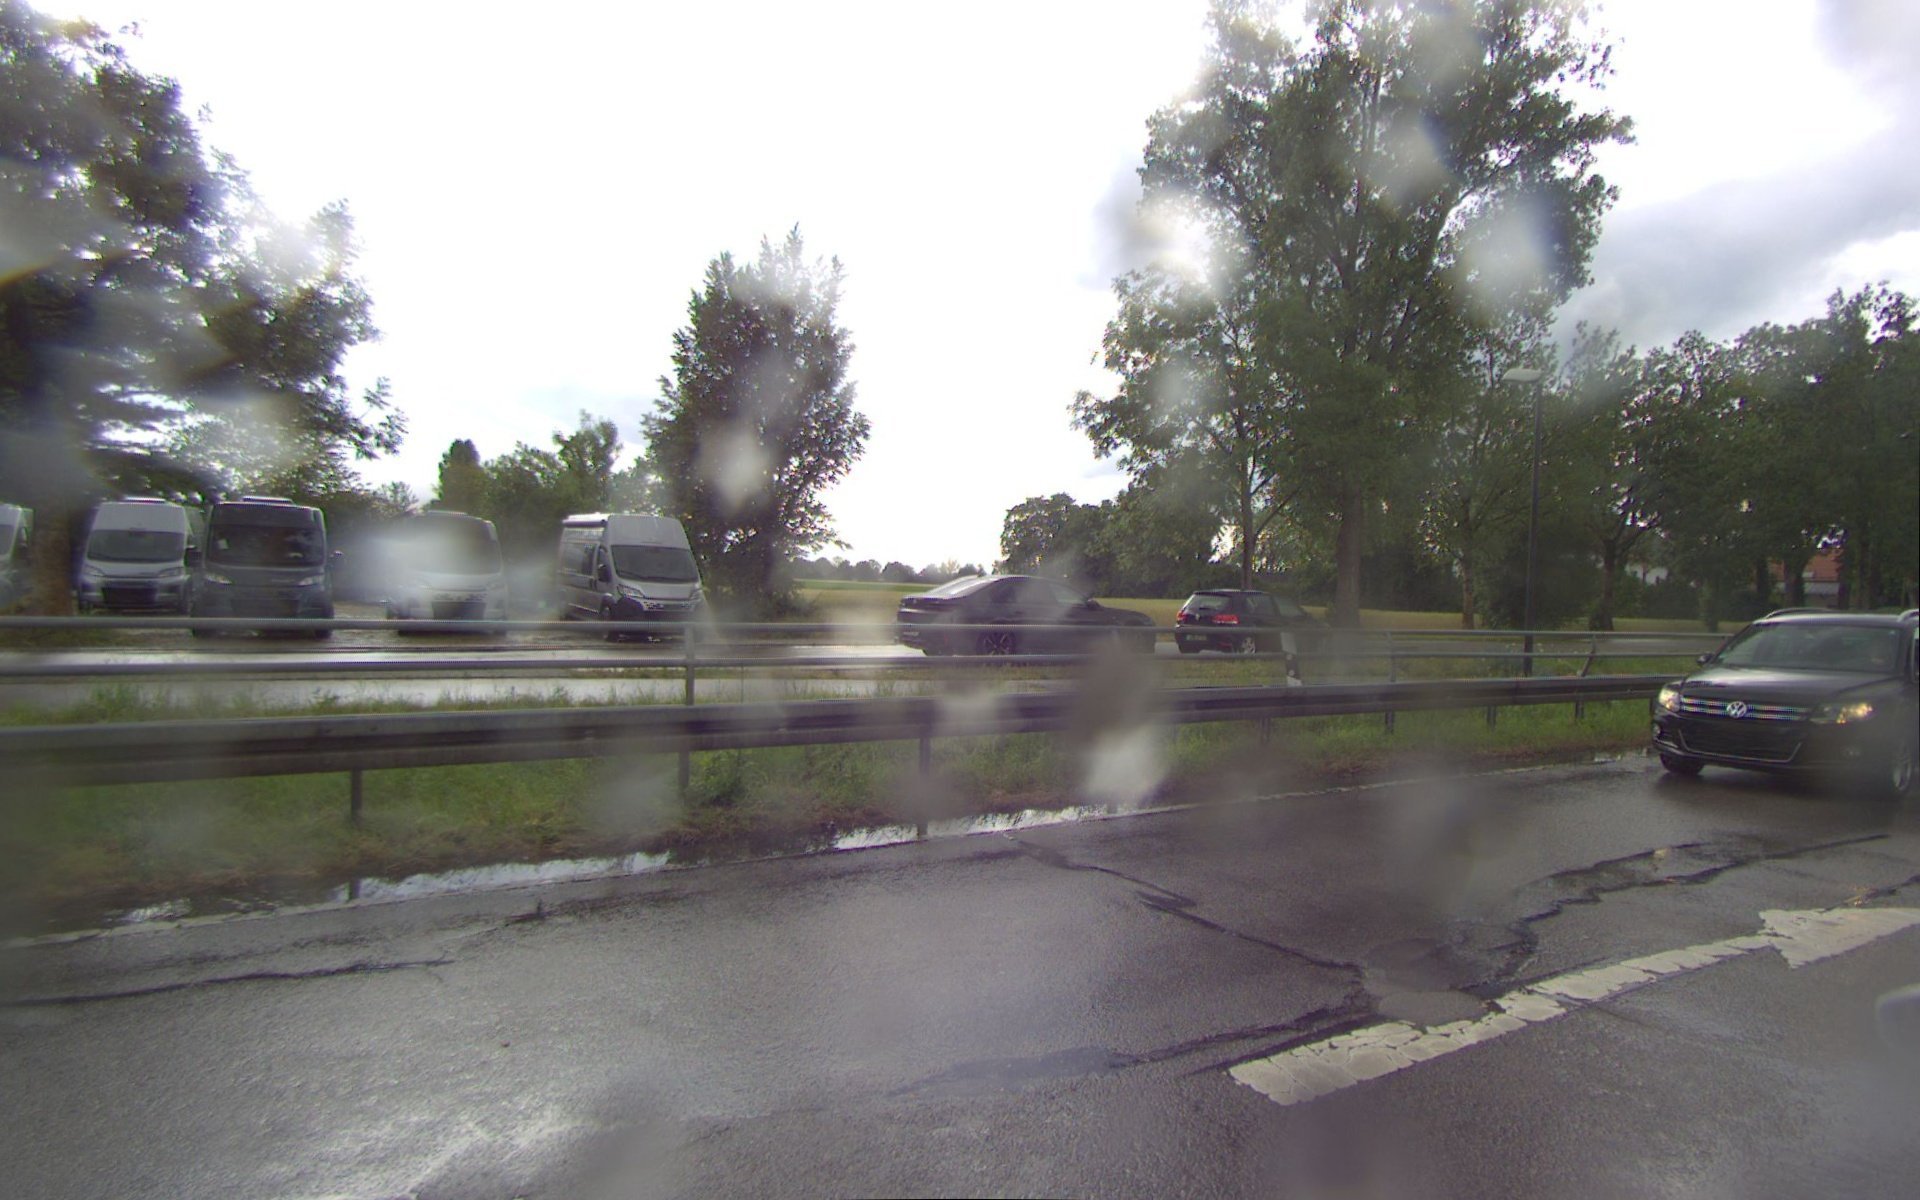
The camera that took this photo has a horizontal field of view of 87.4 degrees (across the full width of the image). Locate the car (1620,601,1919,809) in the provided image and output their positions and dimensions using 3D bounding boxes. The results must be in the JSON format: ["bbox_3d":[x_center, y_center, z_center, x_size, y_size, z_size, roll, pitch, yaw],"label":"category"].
[{"bbox_3d":[8.362,0.867,9.750,3.955,1.641,1.755,1,0,-32],"label":"car"}]

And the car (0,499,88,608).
[{"bbox_3d":[-23.866,-1.171,25.032,2.067,2.449,6.062,1,1,-30],"label":"car"}]

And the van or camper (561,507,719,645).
[{"bbox_3d":[-7.396,-0.563,22.708,2.058,2.713,5.843,1,2,-31],"label":"van or camper"}]

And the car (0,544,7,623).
[{"bbox_3d":[-18.284,-0.265,17.453,1.521,1.516,3.867,1,2,-28],"label":"car"}]

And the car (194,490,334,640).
[{"bbox_3d":[-13.443,-0.669,19.647,1.978,2.535,5.152,1,2,-33],"label":"car"}]

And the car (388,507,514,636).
[{"bbox_3d":[-11.314,-0.636,22.123,1.978,2.492,5.062,1,2,-33],"label":"car"}]

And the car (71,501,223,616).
[{"bbox_3d":[-20.538,-1.022,25.666,2.067,2.573,6.062,1,1,-30],"label":"car"}]

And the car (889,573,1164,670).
[{"bbox_3d":[1.307,0.371,18.055,5.070,1.511,1.505,1,2,-35],"label":"car"}]

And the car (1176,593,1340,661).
[{"bbox_3d":[6.501,0.572,21.775,3.859,1.349,1.274,1,1,-35],"label":"car"}]

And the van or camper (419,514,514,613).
[{"bbox_3d":[-14.690,-1.070,29.719,1.978,2.625,5.773,1,2,-31],"label":"van or camper"}]
